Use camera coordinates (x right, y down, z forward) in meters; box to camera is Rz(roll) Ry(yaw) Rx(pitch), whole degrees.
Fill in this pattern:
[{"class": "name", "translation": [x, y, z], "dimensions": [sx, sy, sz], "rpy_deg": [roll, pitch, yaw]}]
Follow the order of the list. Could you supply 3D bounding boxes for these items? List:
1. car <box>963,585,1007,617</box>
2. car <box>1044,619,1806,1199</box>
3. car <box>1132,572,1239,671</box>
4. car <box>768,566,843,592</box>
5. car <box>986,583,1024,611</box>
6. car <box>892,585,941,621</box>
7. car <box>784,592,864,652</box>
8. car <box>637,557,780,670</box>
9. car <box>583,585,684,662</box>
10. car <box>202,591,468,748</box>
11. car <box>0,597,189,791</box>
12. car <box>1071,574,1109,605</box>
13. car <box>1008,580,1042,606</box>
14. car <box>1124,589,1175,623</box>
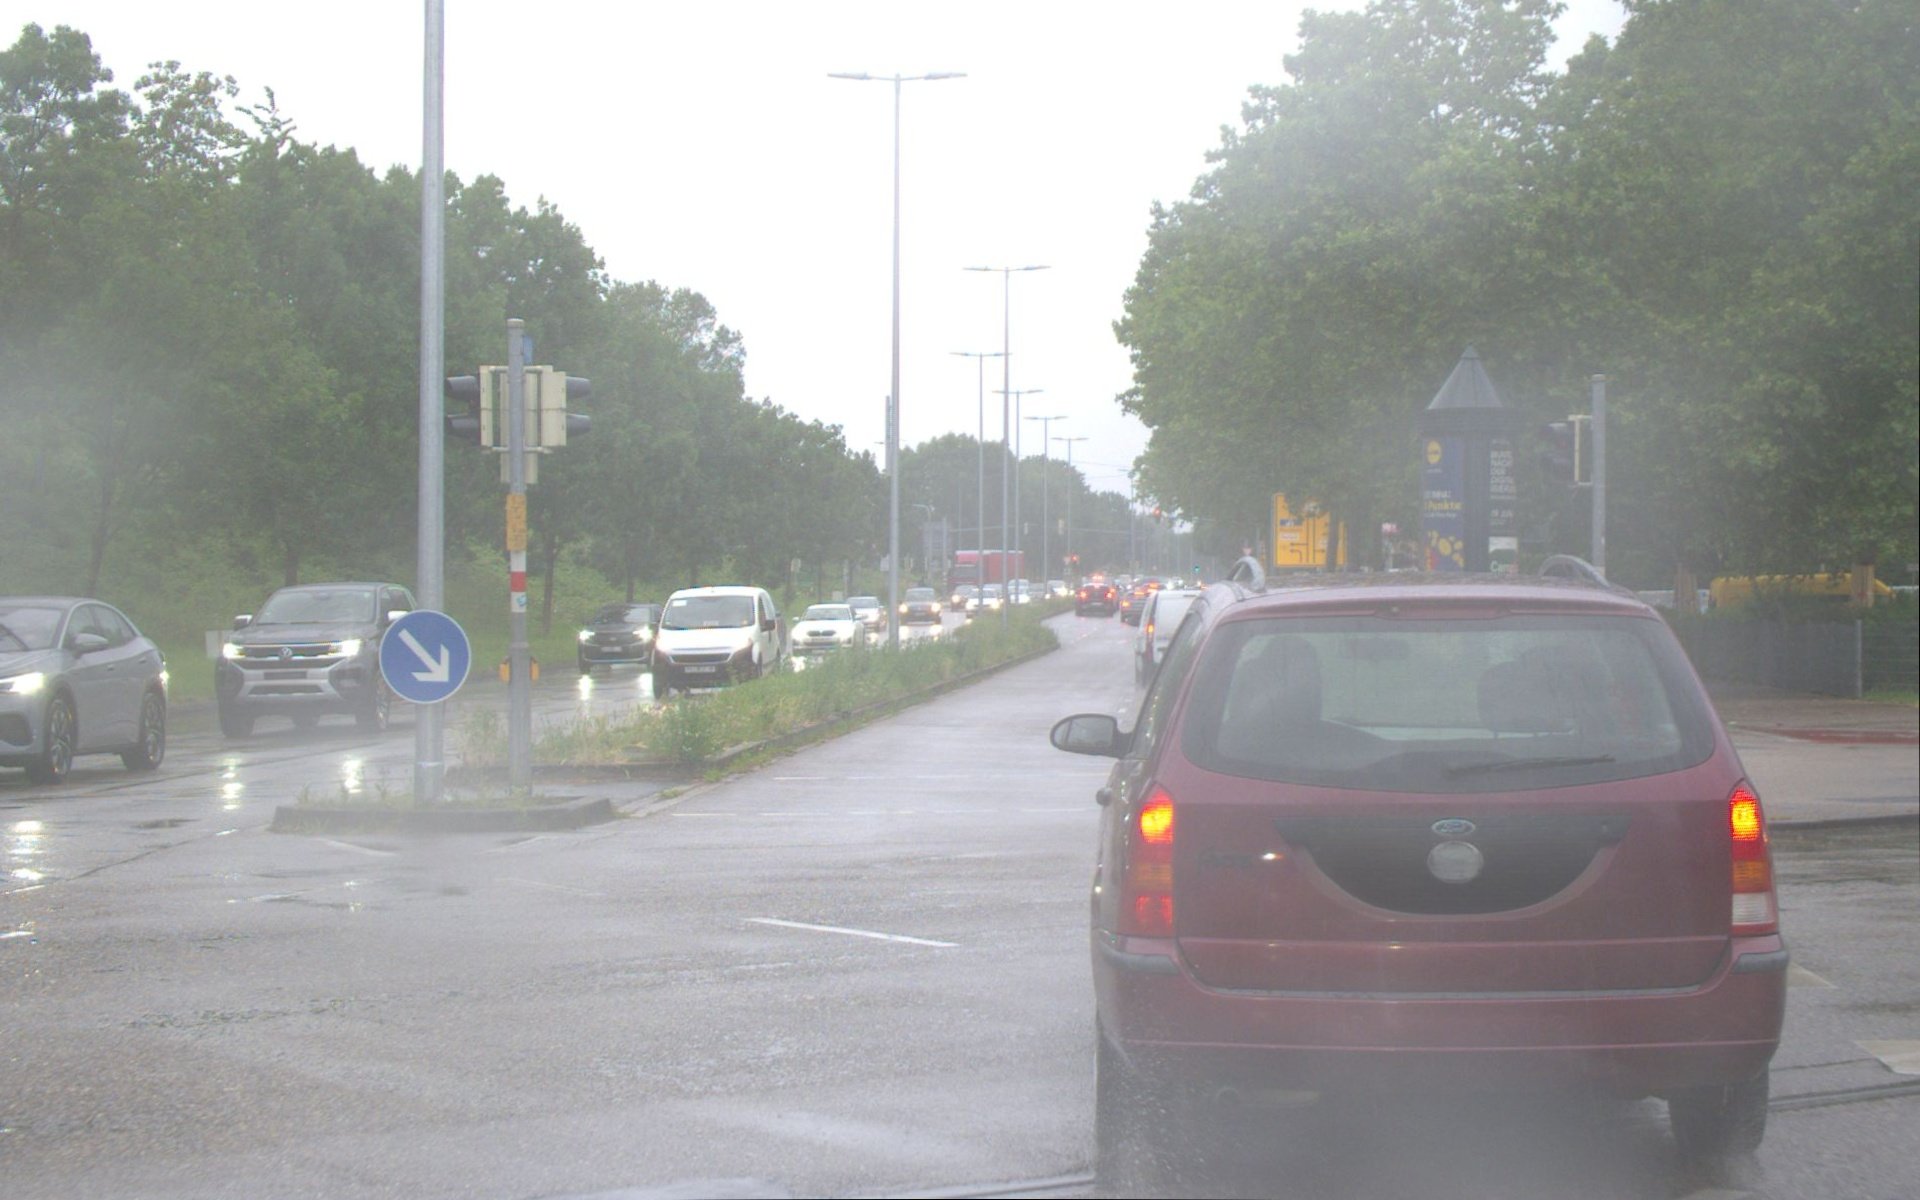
[{"class": "car", "translation": [1.277, 0.036, 172.803], "dimensions": [1.963, 1.591, 4.283], "rpy_deg": [0, 0, 4]}, {"class": "car", "translation": [1.113, 0.833, 9.536], "dimensions": [1.642, 1.460, 3.732], "rpy_deg": [2, 0, 3]}, {"class": "car", "translation": [4.125, 0.373, 63.455], "dimensions": [1.736, 1.720, 4.244], "rpy_deg": [2, 0, 1]}, {"class": "car", "translation": [-9.650, -1.333, 215.239], "dimensions": [4.270, 1.591, 1.969], "rpy_deg": [0, 0, -32]}, {"class": "car", "translation": [2.590, -0.183, 197.808], "dimensions": [1.963, 1.591, 4.283], "rpy_deg": [0, 0, 4]}, {"class": "car", "translation": [-1.969, 0.132, 156.003], "dimensions": [1.963, 1.591, 4.283], "rpy_deg": [0, 0, 3]}, {"class": "car", "translation": [-3.960, 0.628, 100.727], "dimensions": [1.963, 1.697, 4.283], "rpy_deg": [0, 0, 3]}, {"class": "car", "translation": [-3.965, 0.202, 54.847], "dimensions": [1.744, 1.697, 4.283], "rpy_deg": [-2, 0, 2]}, {"class": "car", "translation": [-7.719, 0.540, 81.681], "dimensions": [1.744, 1.696, 4.283], "rpy_deg": [3, 0, 2]}, {"class": "car", "translation": [-7.634, 0.799, 42.577], "dimensions": [2.065, 1.813, 5.541], "rpy_deg": [0, 0, 3]}, {"class": "car", "translation": [-8.335, 0.792, 30.409], "dimensions": [1.762, 1.581, 4.813], "rpy_deg": [0, -1, 2]}, {"class": "car", "translation": [6.567, -0.522, 173.212], "dimensions": [1.698, 1.523, 3.845], "rpy_deg": [0, 0, 5]}, {"class": "car", "translation": [4.117, -0.461, 217.617], "dimensions": [1.963, 1.591, 4.283], "rpy_deg": [0, 0, 4]}, {"class": "car", "translation": [8.750, 0.278, 158.243], "dimensions": [2.148, 1.523, 4.191], "rpy_deg": [0, 0, 6]}]
